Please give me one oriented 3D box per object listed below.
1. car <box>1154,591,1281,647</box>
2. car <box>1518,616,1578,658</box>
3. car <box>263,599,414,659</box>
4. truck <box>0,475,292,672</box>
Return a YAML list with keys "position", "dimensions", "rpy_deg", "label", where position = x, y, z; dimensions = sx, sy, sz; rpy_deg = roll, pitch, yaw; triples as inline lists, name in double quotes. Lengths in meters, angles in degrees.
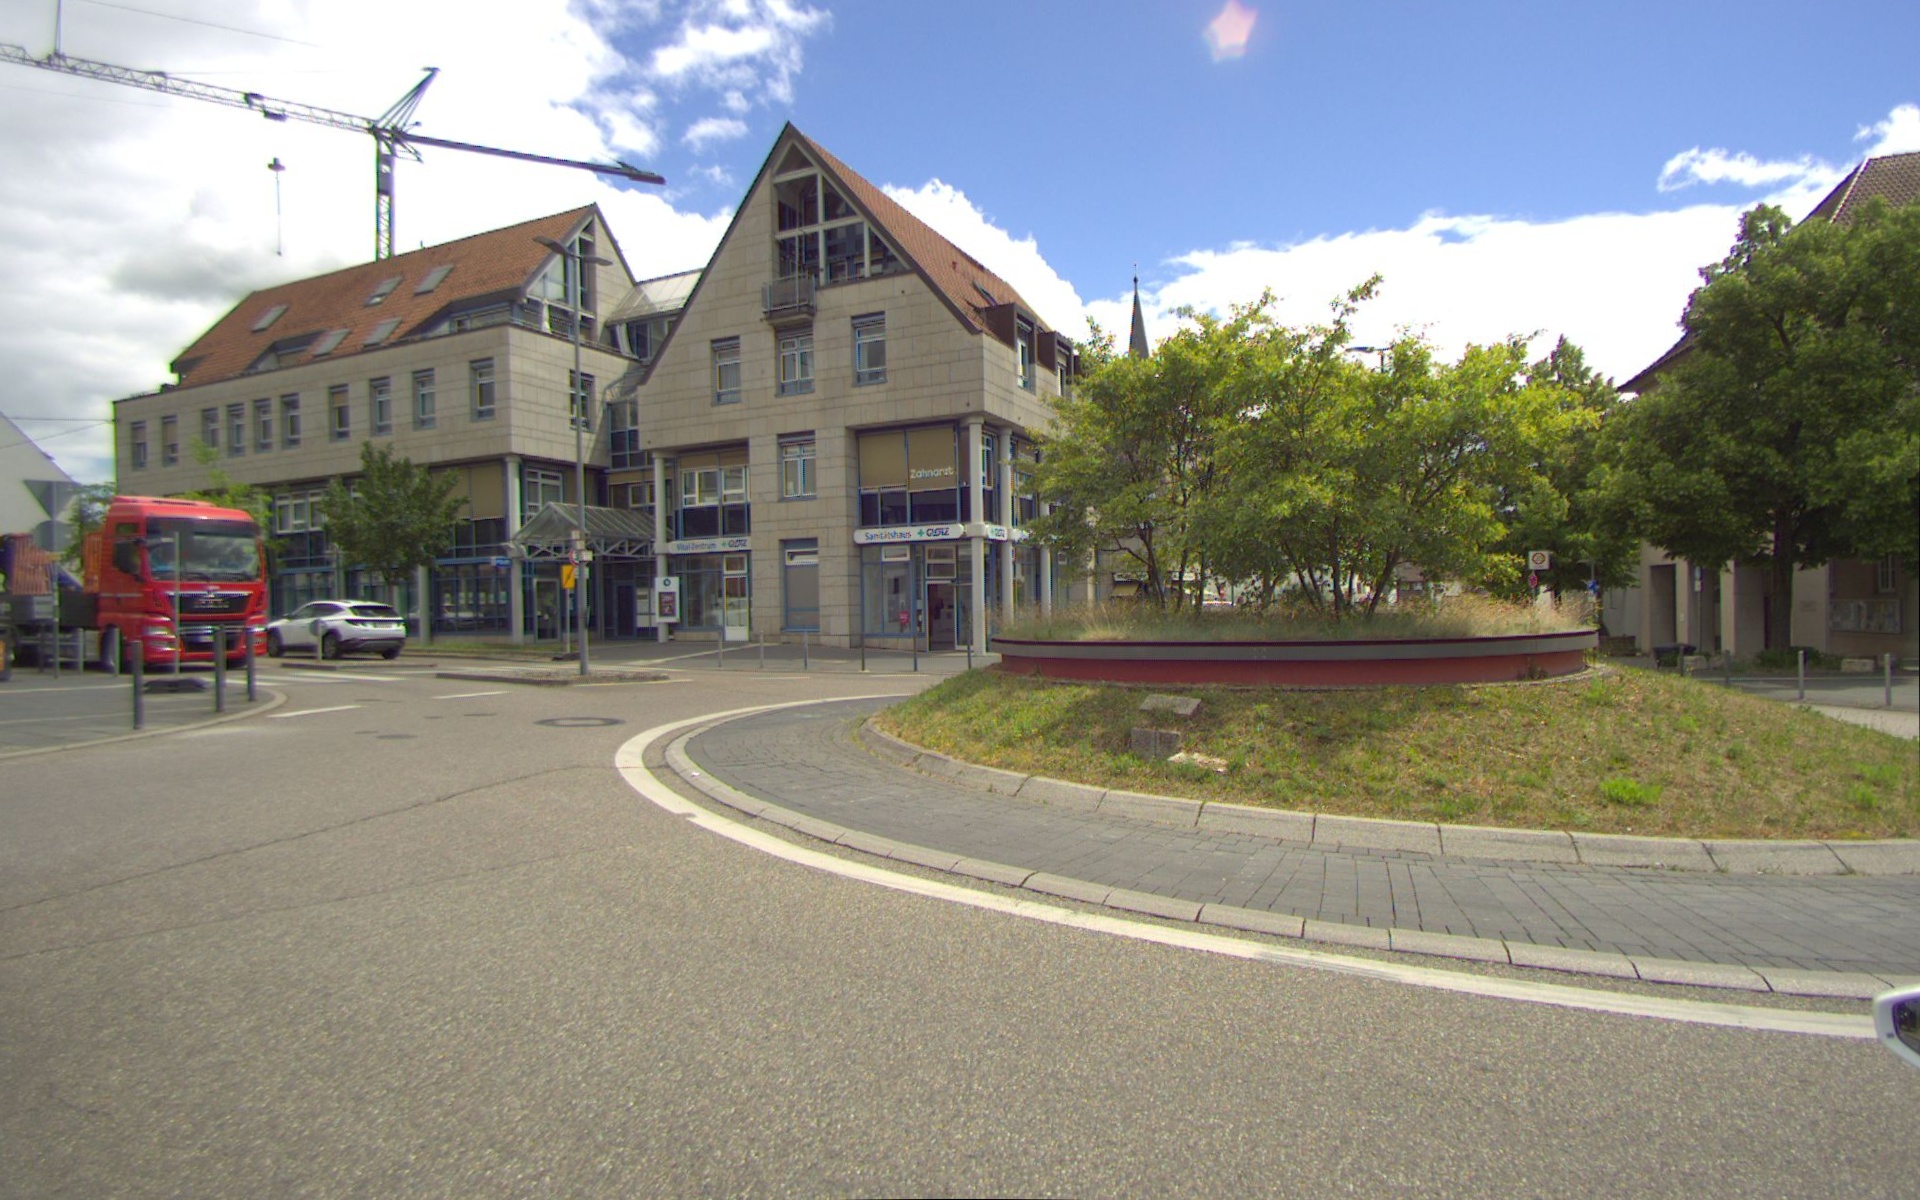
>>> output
- position: [13.224, 0.995, 51.986]
  dimensions: [6.177, 2.593, 2.208]
  rpy_deg: [1, -3, 12]
  label: "car"
- position: [23.708, 1.443, 40.605]
  dimensions: [1.948, 1.550, 3.993]
  rpy_deg: [0, 0, 29]
  label: "car"
- position: [-17.816, 0.809, 28.761]
  dimensions: [4.297, 1.601, 1.861]
  rpy_deg: [0, -2, 30]
  label: "car"
- position: [-20.876, -0.500, 24.800]
  dimensions: [10.407, 4.081, 2.962]
  rpy_deg: [0, -1, 30]
  label: "truck"
